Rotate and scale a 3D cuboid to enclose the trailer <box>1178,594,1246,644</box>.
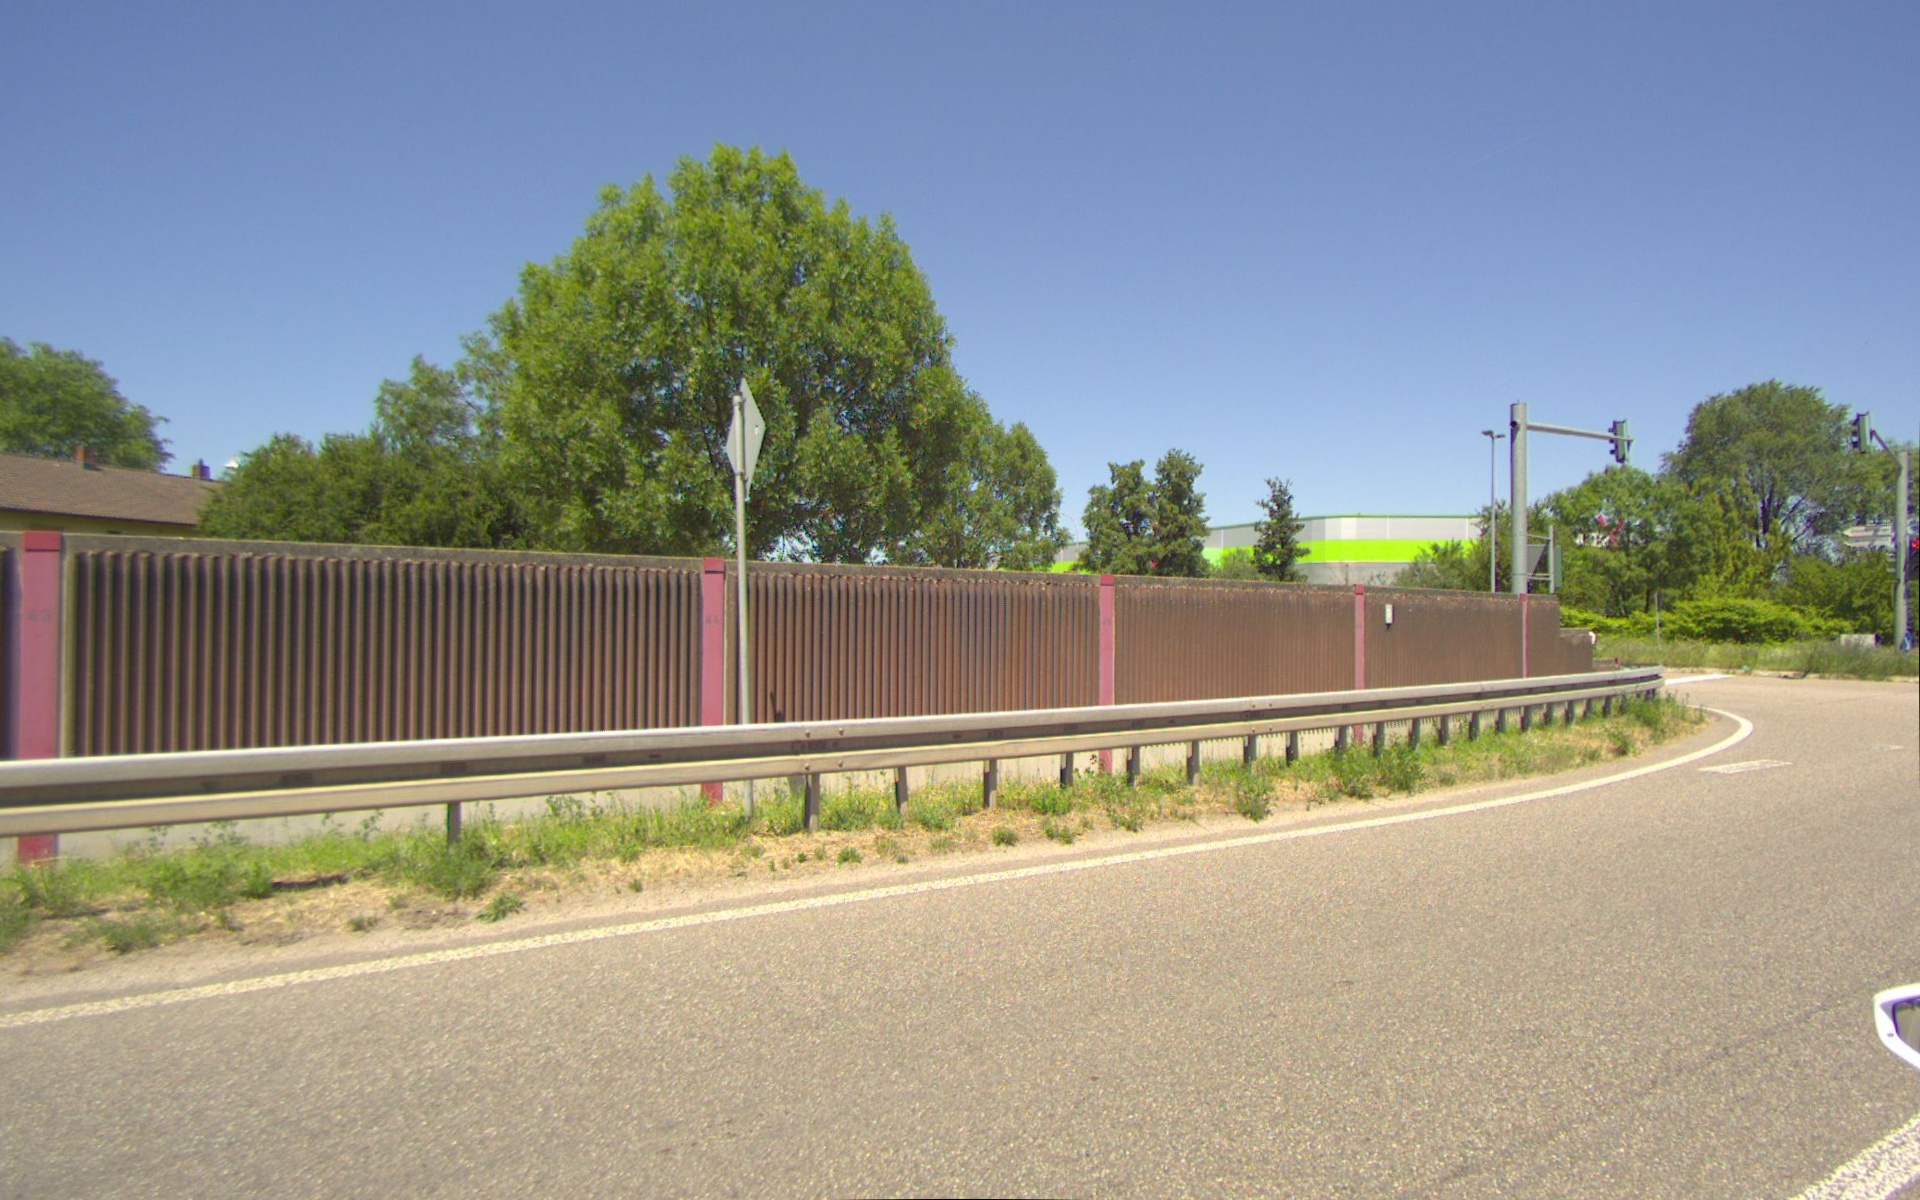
[{"bbox_3d":[14.603,1.080,58.283,3.682,2.801,1.827,1,0,14],"label":"trailer"}]
